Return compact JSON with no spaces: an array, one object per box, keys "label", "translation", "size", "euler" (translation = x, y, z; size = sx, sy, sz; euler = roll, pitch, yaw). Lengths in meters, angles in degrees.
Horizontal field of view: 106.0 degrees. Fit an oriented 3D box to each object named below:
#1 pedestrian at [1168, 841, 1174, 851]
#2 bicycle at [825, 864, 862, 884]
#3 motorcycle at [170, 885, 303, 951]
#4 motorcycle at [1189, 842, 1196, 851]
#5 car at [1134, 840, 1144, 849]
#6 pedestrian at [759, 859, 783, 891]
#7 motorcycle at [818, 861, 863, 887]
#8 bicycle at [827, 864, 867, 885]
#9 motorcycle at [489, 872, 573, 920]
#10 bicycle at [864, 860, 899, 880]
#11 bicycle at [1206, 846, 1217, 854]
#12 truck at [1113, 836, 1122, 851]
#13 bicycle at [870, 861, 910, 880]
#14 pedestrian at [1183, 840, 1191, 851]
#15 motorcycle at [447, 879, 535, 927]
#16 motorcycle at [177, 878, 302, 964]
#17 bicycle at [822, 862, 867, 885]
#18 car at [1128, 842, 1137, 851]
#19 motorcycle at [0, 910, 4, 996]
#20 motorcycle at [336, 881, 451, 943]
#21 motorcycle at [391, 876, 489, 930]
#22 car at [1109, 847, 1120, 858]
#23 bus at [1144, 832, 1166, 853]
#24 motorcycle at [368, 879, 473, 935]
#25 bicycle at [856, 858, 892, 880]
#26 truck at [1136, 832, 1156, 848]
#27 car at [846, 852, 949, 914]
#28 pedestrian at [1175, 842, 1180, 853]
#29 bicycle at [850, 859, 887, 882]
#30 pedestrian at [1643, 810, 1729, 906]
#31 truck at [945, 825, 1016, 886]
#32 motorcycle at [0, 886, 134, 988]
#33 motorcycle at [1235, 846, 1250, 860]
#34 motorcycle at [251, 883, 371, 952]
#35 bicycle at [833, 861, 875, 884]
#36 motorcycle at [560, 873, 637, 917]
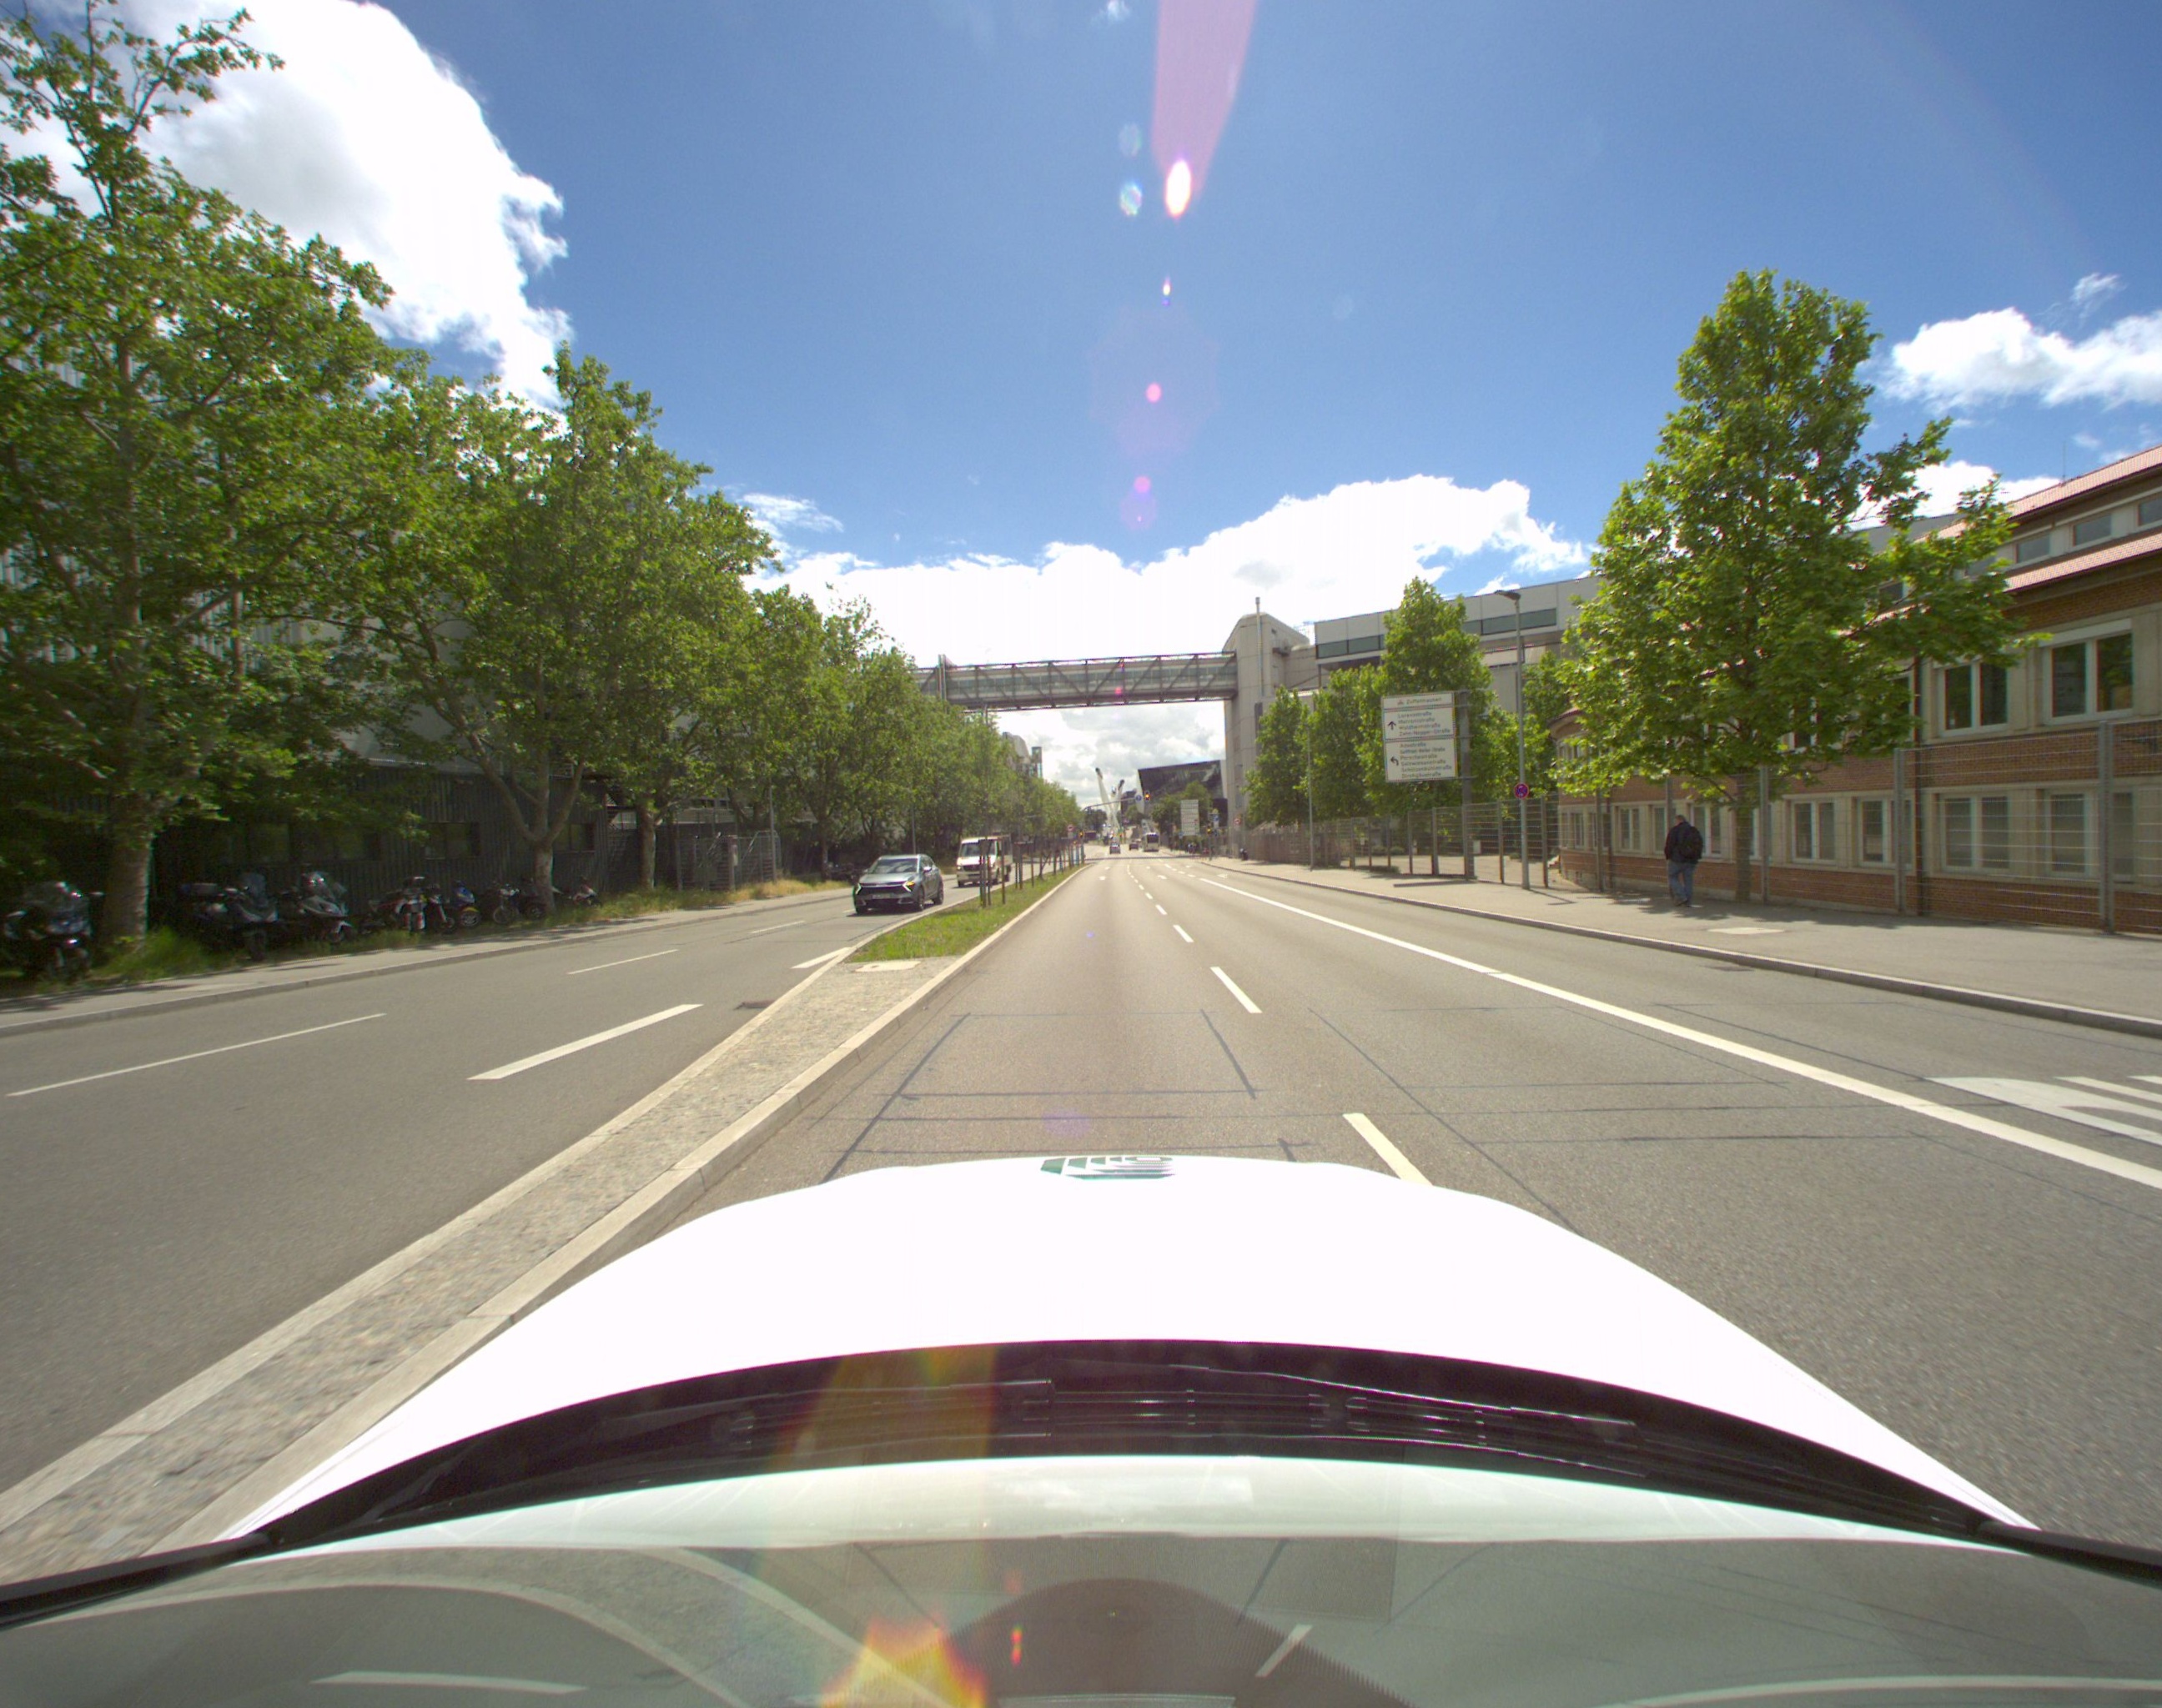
[{"label":"pedestrian","translation":[15.086,-1.317,136.424],"size":[0.817,1.707,0.882],"euler":[-1,0,3]},{"label":"bicycle","translation":[-13.104,1.110,44.962],"size":[1.917,1.074,0.422],"euler":[-1,0,0]},{"label":"motorcycle","translation":[-18.150,1.340,17.582],"size":[0.649,1.209,1.987],"euler":[0,2,7]},{"label":"motorcycle","translation":[15.313,-1.051,112.048],"size":[0.703,1.203,2.026],"euler":[-3,1,3]},{"label":"car","translation":[13.361,-2.264,188.666],"size":[1.987,2.014,3.998],"euler":[0,-1,-1]},{"label":"pedestrian","translation":[-15.585,1.052,40.932],"size":[0.749,1.551,0.823],"euler":[-1,0,12]},{"label":"motorcycle","translation":[-12.694,1.038,42.988],"size":[2.126,1.309,0.806],"euler":[-1,0,0]},{"label":"bicycle","translation":[-13.030,1.145,45.430],"size":[2.074,1.062,0.497],"euler":[-1,0,0]},{"label":"motorcycle","translation":[-14.551,1.092,21.563],"size":[1.866,1.186,0.732],"euler":[0,1,10]},{"label":"bicycle","translation":[-12.341,0.984,50.407],"size":[1.912,1.122,0.806],"euler":[-1,0,0]},{"label":"bicycle","translation":[16.992,-0.517,105.991],"size":[0.399,0.937,1.914],"euler":[-1,0,-22]},{"label":"truck","translation":[9.665,-2.677,214.395],"size":[2.382,3.897,6.183],"euler":[-1,0,3]},{"label":"bicycle","translation":[-12.916,1.116,55.107],"size":[2.548,1.157,0.728],"euler":[-1,0,12]},{"label":"pedestrian","translation":[15.695,-1.227,120.472],"size":[0.839,1.624,0.962],"euler":[-1,0,44]},{"label":"motorcycle","translation":[-14.811,1.206,20.458],"size":[1.863,1.084,0.798],"euler":[1,2,17]},{"label":"motorcycle","translation":[-14.850,1.149,14.375],"size":[1.915,1.344,0.869],"euler":[1,2,22]},{"label":"bicycle","translation":[-12.822,1.037,44.165],"size":[2.126,1.180,0.806],"euler":[-1,0,0]},{"label":"car","translation":[10.285,-1.478,161.458],"size":[1.731,1.741,3.695],"euler":[-1,0,3]},{"label":"motorcycle","translation":[-15.138,1.285,10.688],"size":[1.913,1.115,0.927],"euler":[1,2,29]},{"label":"motorcycle","translation":[-14.435,1.203,17.125],"size":[1.866,1.179,0.817],"euler":[0,2,11]},{"label":"motorcycle","translation":[-15.198,1.144,19.333],"size":[1.868,1.209,0.656],"euler":[0,1,5]},{"label":"car","translation":[5.649,-0.270,136.707],"size":[1.731,1.741,3.695],"euler":[-1,0,3]},{"label":"bus","translation":[13.565,-2.118,150.257],"size":[3.439,3.543,10.612],"euler":[-1,0,2]},{"label":"motorcycle","translation":[-14.935,1.179,18.428],"size":[1.868,1.179,0.699],"euler":[0,1,5]},{"label":"bicycle","translation":[-12.550,0.926,49.393],"size":[1.912,1.282,0.806],"euler":[-1,0,0]},{"label":"truck","translation":[19.126,-4.021,238.823],"size":[3.423,4.391,9.469],"euler":[-1,0,21]},{"label":"car","translation":[-5.337,0.787,24.287],"size":[1.897,1.631,4.296],"euler":[-1,0,3]},{"label":"pedestrian","translation":[16.163,-1.108,136.370],"size":[0.634,1.741,0.821],"euler":[-1,0,-6]},{"label":"bicycle","translation":[-12.562,0.949,48.218],"size":[1.912,1.282,0.806],"euler":[-1,0,0]},{"label":"pedestrian","translation":[11.644,0.079,15.709],"size":[0.874,1.743,0.941],"euler":[-4,0,1]},{"label":"truck","translation":[-4.936,0.062,41.000],"size":[2.469,2.751,6.461],"euler":[-2,0,2]},{"label":"motorcycle","translation":[-15.002,1.168,11.921],"size":[1.915,1.290,0.898],"euler":[1,2,22]},{"label":"motorcycle","translation":[13.507,-0.080,68.245],"size":[0.691,1.158,2.146],"euler":[-3,0,-2]},{"label":"motorcycle","translation":[-14.763,1.187,15.619],"size":[1.863,1.179,0.818],"euler":[1,2,16]},{"label":"bicycle","translation":[-13.165,1.058,47.284],"size":[2.126,1.282,0.806],"euler":[-1,0,0]},{"label":"motorcycle","translation":[-13.963,1.173,23.578],"size":[1.865,1.173,0.748],"euler":[0,1,11]}]
